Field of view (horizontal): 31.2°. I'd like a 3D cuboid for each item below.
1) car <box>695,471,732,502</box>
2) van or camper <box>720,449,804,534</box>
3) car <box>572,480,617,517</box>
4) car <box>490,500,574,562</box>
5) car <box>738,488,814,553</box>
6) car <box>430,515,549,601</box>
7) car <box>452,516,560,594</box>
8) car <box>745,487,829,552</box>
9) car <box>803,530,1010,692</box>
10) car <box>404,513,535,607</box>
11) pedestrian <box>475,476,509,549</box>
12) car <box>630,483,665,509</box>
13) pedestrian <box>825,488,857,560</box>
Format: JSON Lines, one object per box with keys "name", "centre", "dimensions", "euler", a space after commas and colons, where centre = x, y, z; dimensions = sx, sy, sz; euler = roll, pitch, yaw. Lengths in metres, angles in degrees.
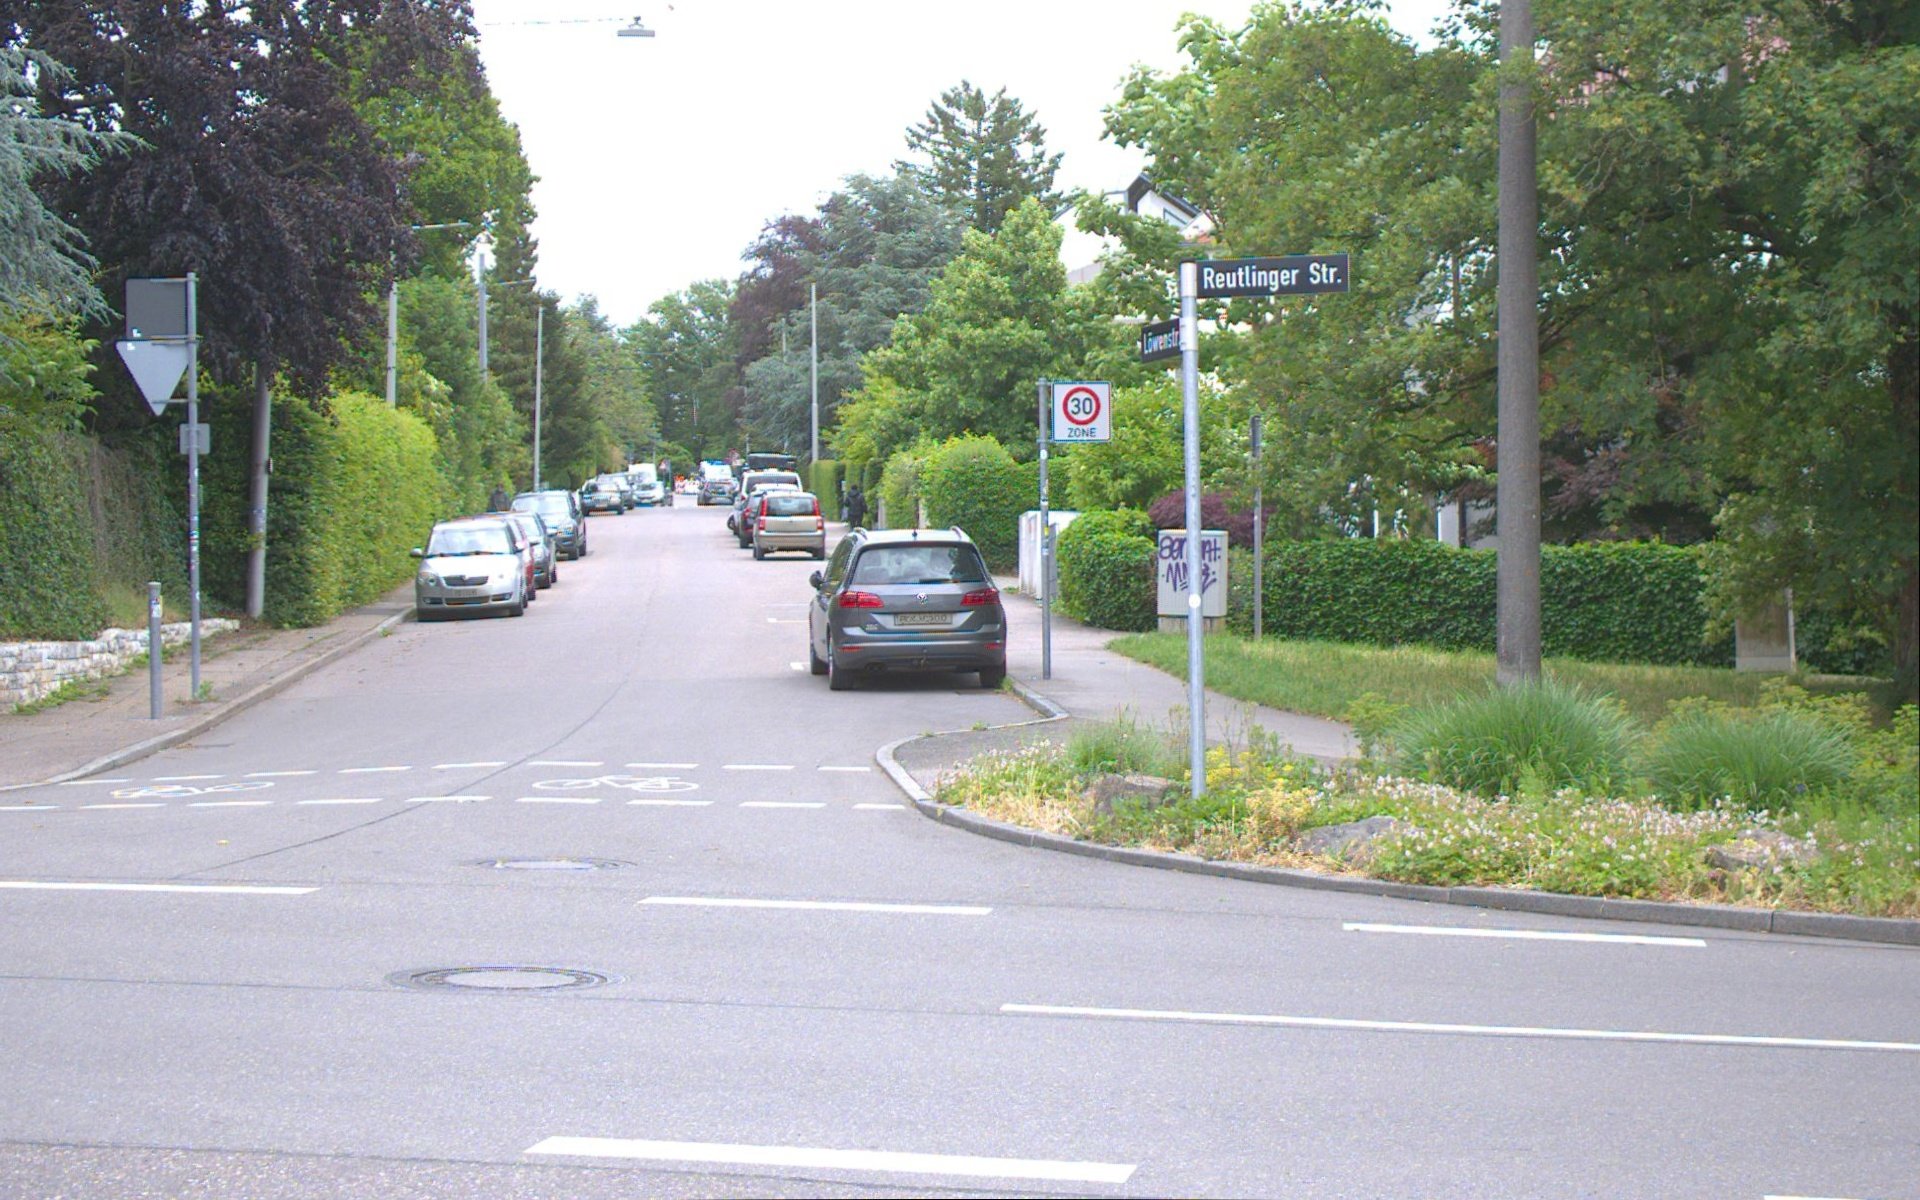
{"name": "car", "centre": [-12.736, -5.837, 177.348], "dimensions": [1.815, 1.568, 4.001], "euler": [0, 1, -5]}
{"name": "van or camper", "centre": [-5.803, -3.125, 100.078], "dimensions": [2.112, 2.396, 5.247], "euler": [0, 1, -7]}
{"name": "car", "centre": [-15.119, -4.186, 142.346], "dimensions": [1.714, 1.458, 3.657], "euler": [2, 1, -4]}
{"name": "car", "centre": [-10.249, -1.666, 82.601], "dimensions": [1.946, 1.437, 4.001], "euler": [0, 1, -6]}
{"name": "car", "centre": [-4.752, -2.029, 88.267], "dimensions": [1.746, 1.634, 3.729], "euler": [0, 1, -6]}
{"name": "car", "centre": [-8.135, -0.751, 59.695], "dimensions": [1.946, 1.437, 4.001], "euler": [0, 1, -6]}
{"name": "car", "centre": [-8.552, -0.870, 65.015], "dimensions": [1.946, 1.437, 4.001], "euler": [0, 1, -6]}
{"name": "car", "centre": [-3.957, -1.833, 78.269], "dimensions": [1.608, 1.409, 3.474], "euler": [2, 1, -7]}
{"name": "car", "centre": [-0.606, 0.063, 35.029], "dimensions": [1.817, 1.531, 4.001], "euler": [-1, 1, -5]}
{"name": "car", "centre": [-7.743, -0.656, 54.559], "dimensions": [1.946, 1.437, 4.001], "euler": [0, 1, -6]}
{"name": "pedestrian", "centre": [-13.128, -2.464, 96.475], "dimensions": [0.853, 2.007, 0.873], "euler": [2, 1, -10]}
{"name": "car", "centre": [-16.637, -5.537, 182.965], "dimensions": [1.655, 1.330, 3.781], "euler": [2, 1, -3]}
{"name": "pedestrian", "centre": [-3.137, -2.009, 90.756], "dimensions": [0.757, 1.865, 0.620], "euler": [2, 1, -5]}
